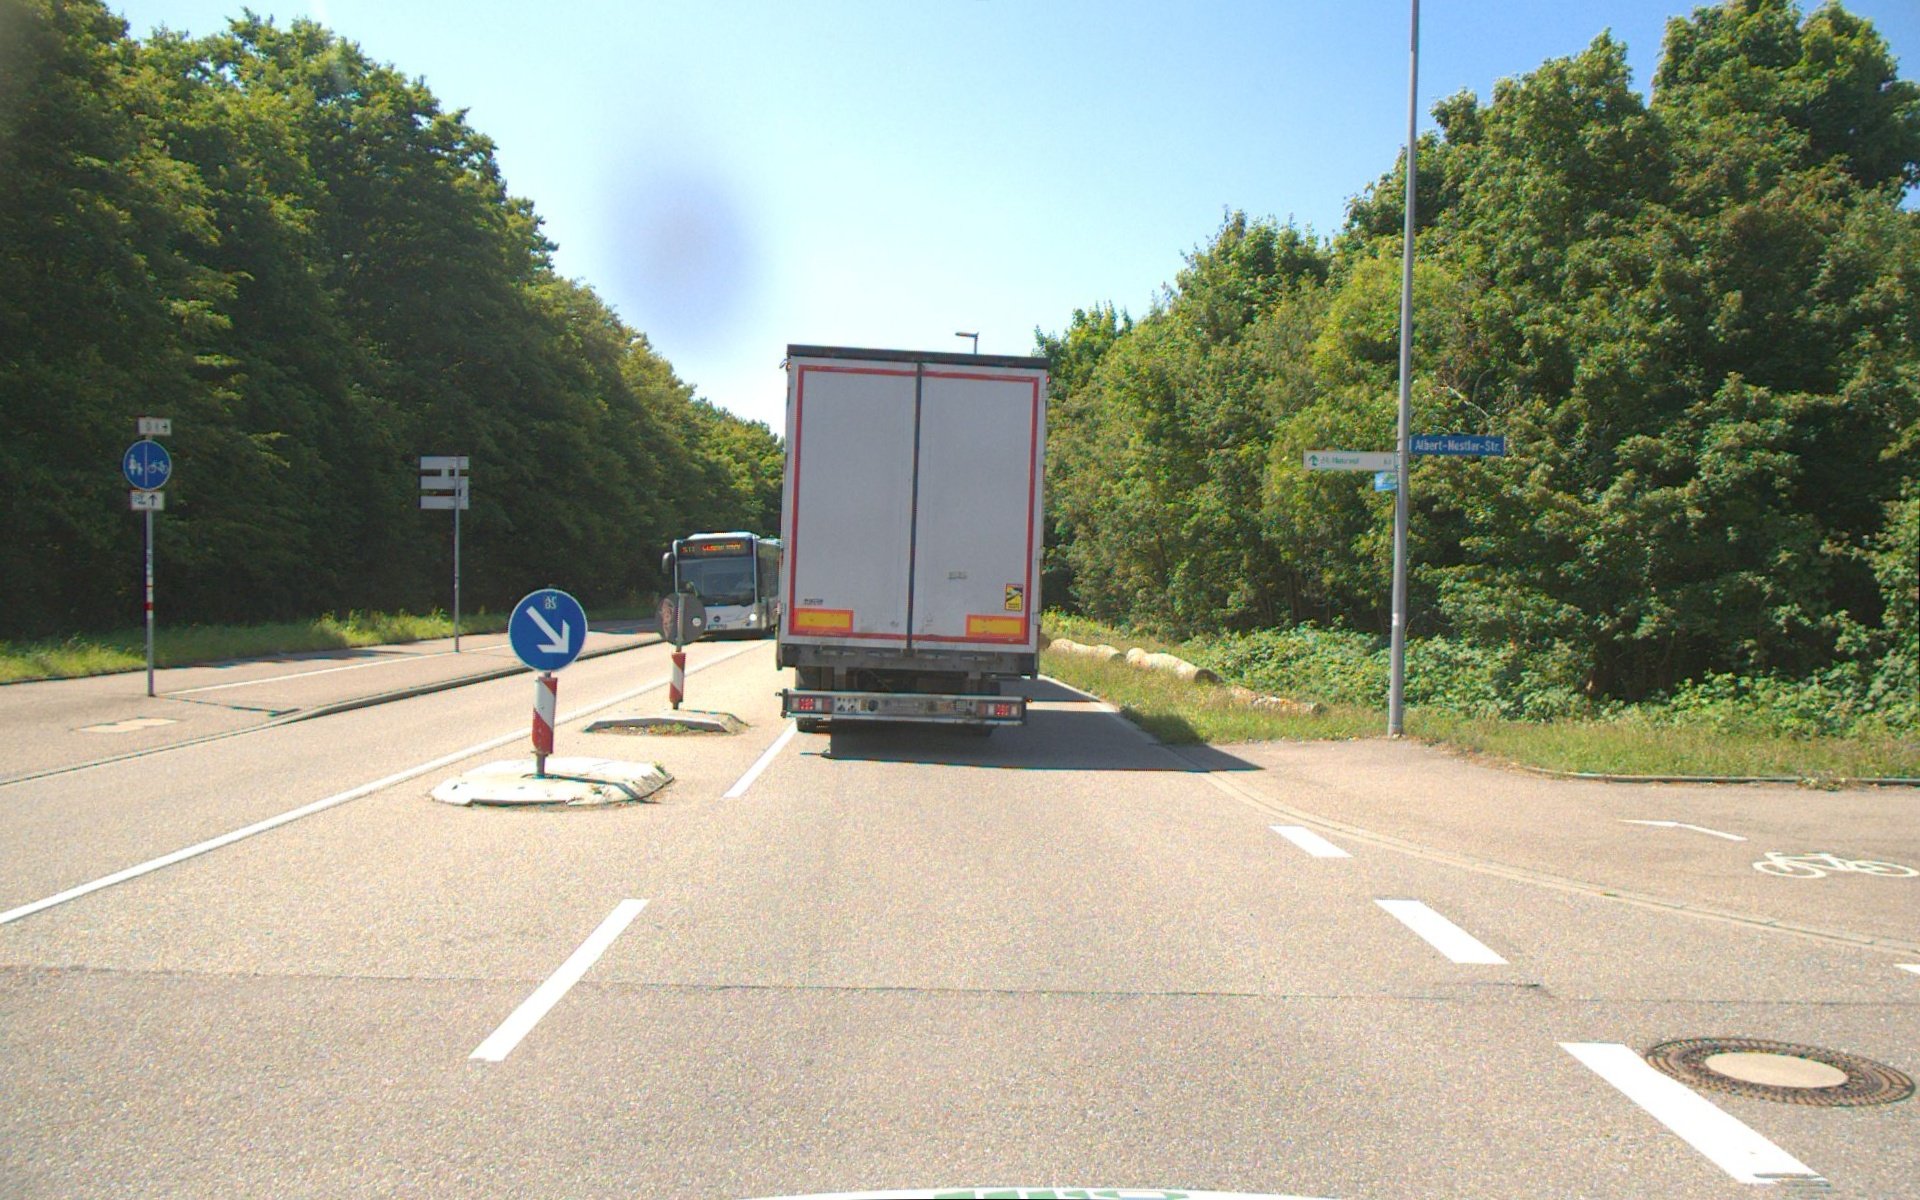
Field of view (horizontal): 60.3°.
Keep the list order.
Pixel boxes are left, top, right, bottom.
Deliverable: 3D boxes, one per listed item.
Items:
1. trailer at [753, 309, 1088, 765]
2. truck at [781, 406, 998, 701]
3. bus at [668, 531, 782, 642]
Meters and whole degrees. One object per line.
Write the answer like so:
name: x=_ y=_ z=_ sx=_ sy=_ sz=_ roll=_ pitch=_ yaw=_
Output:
trailer: x=-0.727 y=-0.599 z=20.194 sx=3.017 sy=4.141 sz=9.800 roll=1 pitch=0 yaw=-4
truck: x=-1.308 y=-0.694 z=27.679 sx=3.017 sy=4.141 sz=7.952 roll=1 pitch=0 yaw=-5
bus: x=-7.299 y=-0.421 z=52.841 sx=2.695 sy=3.098 sz=11.929 roll=-1 pitch=0 yaw=-4
